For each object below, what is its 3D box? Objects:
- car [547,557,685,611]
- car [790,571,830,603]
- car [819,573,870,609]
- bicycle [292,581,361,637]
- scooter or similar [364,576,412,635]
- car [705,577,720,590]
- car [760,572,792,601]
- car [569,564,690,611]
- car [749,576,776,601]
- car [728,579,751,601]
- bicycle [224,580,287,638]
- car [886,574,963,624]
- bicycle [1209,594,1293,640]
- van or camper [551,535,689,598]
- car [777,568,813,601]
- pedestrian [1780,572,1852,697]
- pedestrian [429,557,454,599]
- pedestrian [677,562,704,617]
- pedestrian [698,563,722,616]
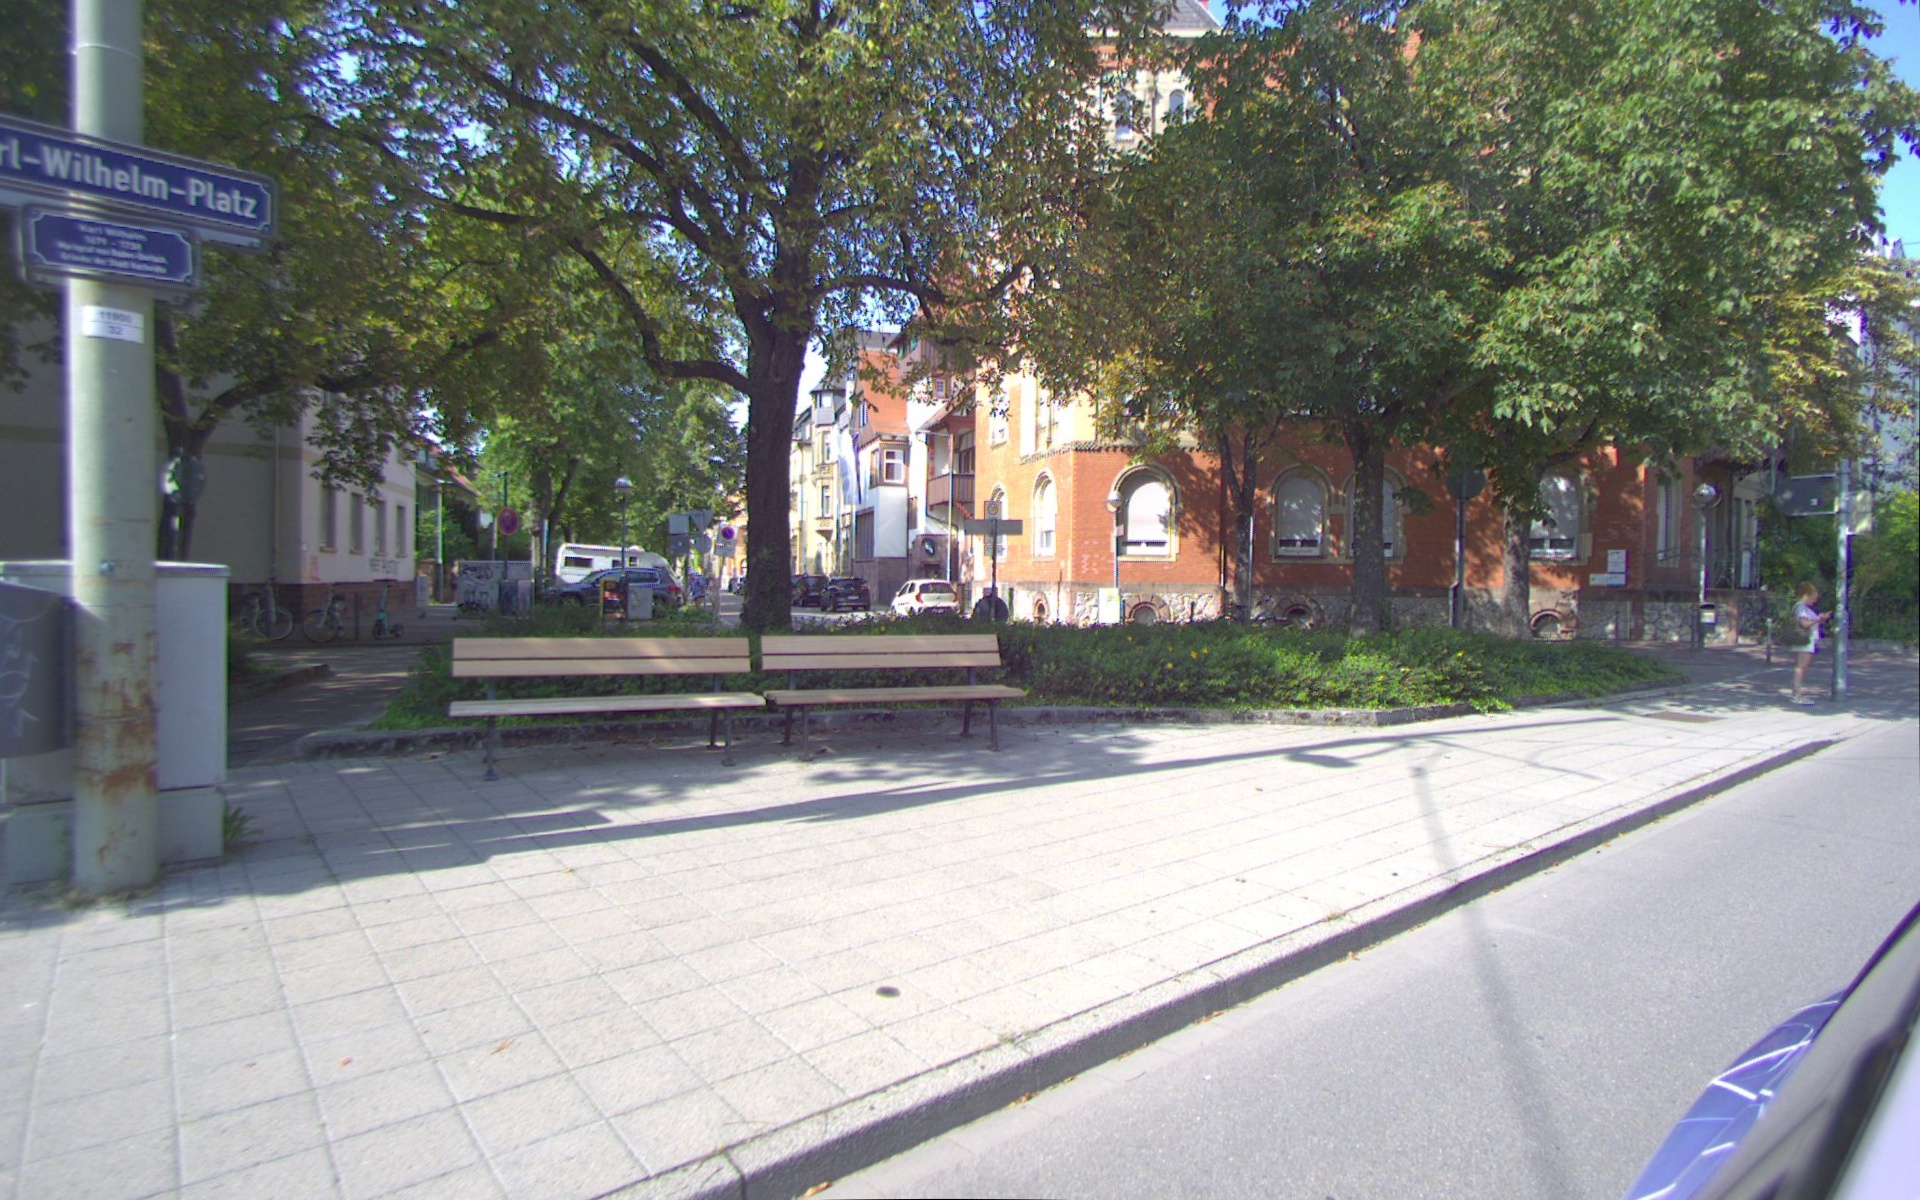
[{"bbox_3d":[-11.097,-0.515,32.789,4.106,1.658,1.667,0,1,-19],"label":"car"},{"bbox_3d":[-8.501,-0.735,57.089,1.588,1.723,4.009,0,1,-18],"label":"car"},{"bbox_3d":[-5.401,-0.462,47.119,1.588,1.586,4.009,0,1,-18],"label":"car"},{"bbox_3d":[-12.609,0.155,20.188,0.596,1.071,1.843,0,1,-13],"label":"bicycle"},{"bbox_3d":[-11.841,0.098,20.972,0.433,1.172,1.114,0,1,-5],"label":"scooter or similar"},{"bbox_3d":[-32.998,-2.194,134.851,1.588,1.730,4.009,0,1,-18],"label":"car"},{"bbox_3d":[-12.508,-0.944,68.679,1.588,1.946,4.009,0,1,-18],"label":"car"},{"bbox_3d":[-12.390,-0.477,37.956,4.107,1.480,1.666,4,0,-24],"label":"car"},{"bbox_3d":[-15.892,-0.964,81.309,1.588,1.946,4.009,0,1,-18],"label":"car"},{"bbox_3d":[-20.080,-0.963,92.022,1.588,1.946,4.009,0,1,-18],"label":"car"},{"bbox_3d":[-13.835,0.148,19.868,1.862,1.071,0.599,2,1,42],"label":"bicycle"},{"bbox_3d":[-1.266,-0.081,34.685,1.588,1.586,4.009,0,1,-18],"label":"car"},{"bbox_3d":[6.912,0.408,24.093,1.805,1.072,0.608,0,-2,3],"label":"bicycle"},{"bbox_3d":[-18.215,-1.746,54.408,6.796,2.919,2.004,3,-2,-20],"label":"van or camper"},{"bbox_3d":[-10.148,-0.941,61.978,1.588,1.946,4.009,0,1,-18],"label":"car"},{"bbox_3d":[12.211,0.475,14.445,0.648,1.739,0.545,0,1,-26],"label":"pedestrian"},{"bbox_3d":[-19.627,-0.841,38.320,0.754,1.566,0.860,0,1,-20],"label":"pedestrian"},{"bbox_3d":[-8.819,-0.348,33.144,0.645,1.786,0.605,1,1,12],"label":"pedestrian"},{"bbox_3d":[-8.410,-0.359,34.069,0.581,1.786,0.605,1,1,10],"label":"pedestrian"}]
